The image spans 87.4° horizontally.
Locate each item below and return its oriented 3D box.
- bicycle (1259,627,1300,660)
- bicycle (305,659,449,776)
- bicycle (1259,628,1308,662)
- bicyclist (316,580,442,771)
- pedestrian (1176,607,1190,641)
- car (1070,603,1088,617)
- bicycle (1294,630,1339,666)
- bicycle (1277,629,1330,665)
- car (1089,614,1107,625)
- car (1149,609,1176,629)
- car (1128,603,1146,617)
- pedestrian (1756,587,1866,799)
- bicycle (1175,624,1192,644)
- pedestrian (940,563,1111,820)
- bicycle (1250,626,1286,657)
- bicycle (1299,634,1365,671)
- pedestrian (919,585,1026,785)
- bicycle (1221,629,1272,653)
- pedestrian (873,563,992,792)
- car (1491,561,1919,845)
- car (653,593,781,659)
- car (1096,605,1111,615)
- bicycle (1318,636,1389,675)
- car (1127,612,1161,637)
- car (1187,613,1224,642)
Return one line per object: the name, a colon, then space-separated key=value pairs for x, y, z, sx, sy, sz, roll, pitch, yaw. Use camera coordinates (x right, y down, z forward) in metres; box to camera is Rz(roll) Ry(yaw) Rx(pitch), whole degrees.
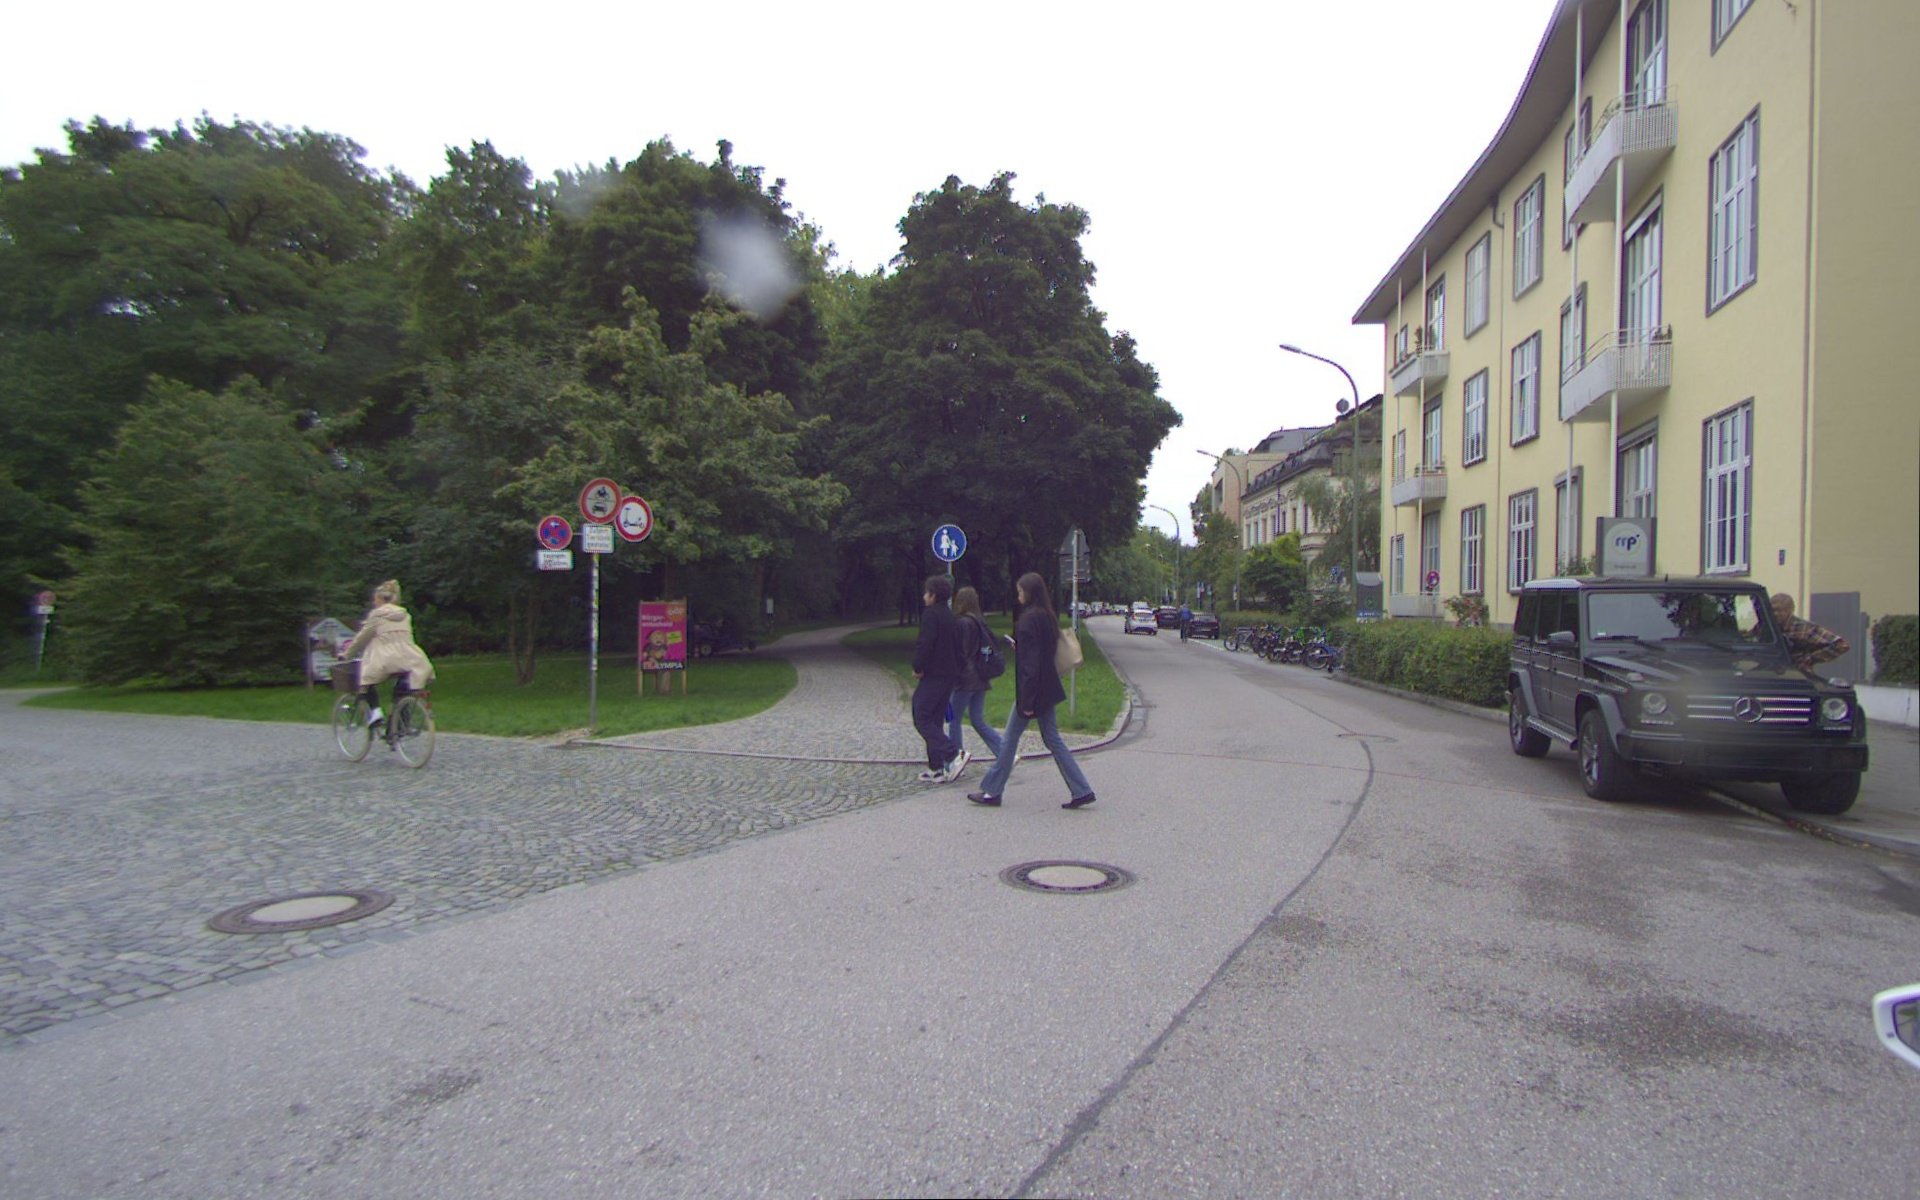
bicycle: x=10.958 y=1.493 z=34.434 sx=1.596 sy=1.079 sz=0.388 roll=2 pitch=0 yaw=-33
bicycle: x=-5.971 y=1.158 z=10.249 sx=1.913 sy=1.054 sz=0.482 roll=-1 pitch=-1 yaw=34
bicycle: x=10.702 y=1.489 z=33.228 sx=1.590 sy=1.079 sz=0.475 roll=2 pitch=0 yaw=-23
bicyclist: x=-5.862 y=0.720 z=10.155 sx=0.753 sy=1.827 sz=0.855 roll=0 pitch=0 yaw=31
pedestrian: x=10.897 y=1.170 z=49.091 sx=0.463 sy=1.651 sz=0.759 roll=2 pitch=0 yaw=1
car: x=12.412 y=1.042 z=104.701 sx=1.711 sy=1.409 sz=3.975 roll=2 pitch=0 yaw=10
bicycle: x=11.113 y=1.491 z=31.297 sx=1.596 sy=1.079 sz=0.380 roll=2 pitch=0 yaw=-32
bicycle: x=10.973 y=1.496 z=32.087 sx=1.587 sy=1.079 sz=0.476 roll=2 pitch=0 yaw=-16
car: x=18.992 y=2.620 z=137.842 sx=1.885 sy=1.409 sz=3.864 roll=2 pitch=0 yaw=15
car: x=15.463 y=1.431 z=76.839 sx=1.596 sy=1.439 sz=3.795 roll=2 pitch=0 yaw=6
car: x=19.779 y=1.112 z=112.544 sx=1.719 sy=1.409 sz=3.864 roll=2 pitch=0 yaw=7
pedestrian: x=7.674 y=0.808 z=9.064 sx=0.557 sy=1.822 sz=0.633 roll=0 pitch=-2 yaw=-41
bicycle: x=10.892 y=1.641 z=49.042 sx=0.473 sy=0.920 sz=1.632 roll=2 pitch=0 yaw=2
pedestrian: x=0.510 y=0.688 z=7.870 sx=1.095 sy=1.857 sz=0.750 roll=-2 pitch=-3 yaw=31
bicycle: x=11.066 y=1.497 z=36.083 sx=1.599 sy=1.079 sz=0.387 roll=2 pitch=0 yaw=-39
bicycle: x=10.790 y=1.514 z=29.148 sx=1.718 sy=0.997 sz=0.364 roll=2 pitch=0 yaw=4
pedestrian: x=0.118 y=0.787 z=9.520 sx=0.787 sy=1.805 sz=0.633 roll=-2 pitch=-3 yaw=31
bicycle: x=12.051 y=1.707 z=42.273 sx=1.995 sy=0.920 sz=0.547 roll=2 pitch=0 yaw=4
pedestrian: x=-0.241 y=0.675 z=8.982 sx=0.790 sy=1.928 sz=0.707 roll=-2 pitch=-3 yaw=31
car: x=6.684 y=0.759 z=9.667 sx=1.897 sy=2.027 sz=4.422 roll=2 pitch=0 yaw=16
car: x=-8.306 y=0.832 z=34.366 sx=3.919 sy=2.133 sz=1.891 roll=0 pitch=1 yaw=-28
car: x=21.490 y=1.532 z=150.259 sx=1.885 sy=1.409 sz=3.864 roll=2 pitch=0 yaw=13
bicycle: x=10.730 y=1.518 z=27.411 sx=1.718 sy=0.997 sz=0.441 roll=2 pitch=0 yaw=2
car: x=11.184 y=1.464 z=61.289 sx=1.719 sy=1.409 sz=3.864 roll=2 pitch=0 yaw=7
car: x=13.993 y=1.554 z=57.399 sx=1.626 sy=1.549 sz=4.002 roll=2 pitch=0 yaw=8
